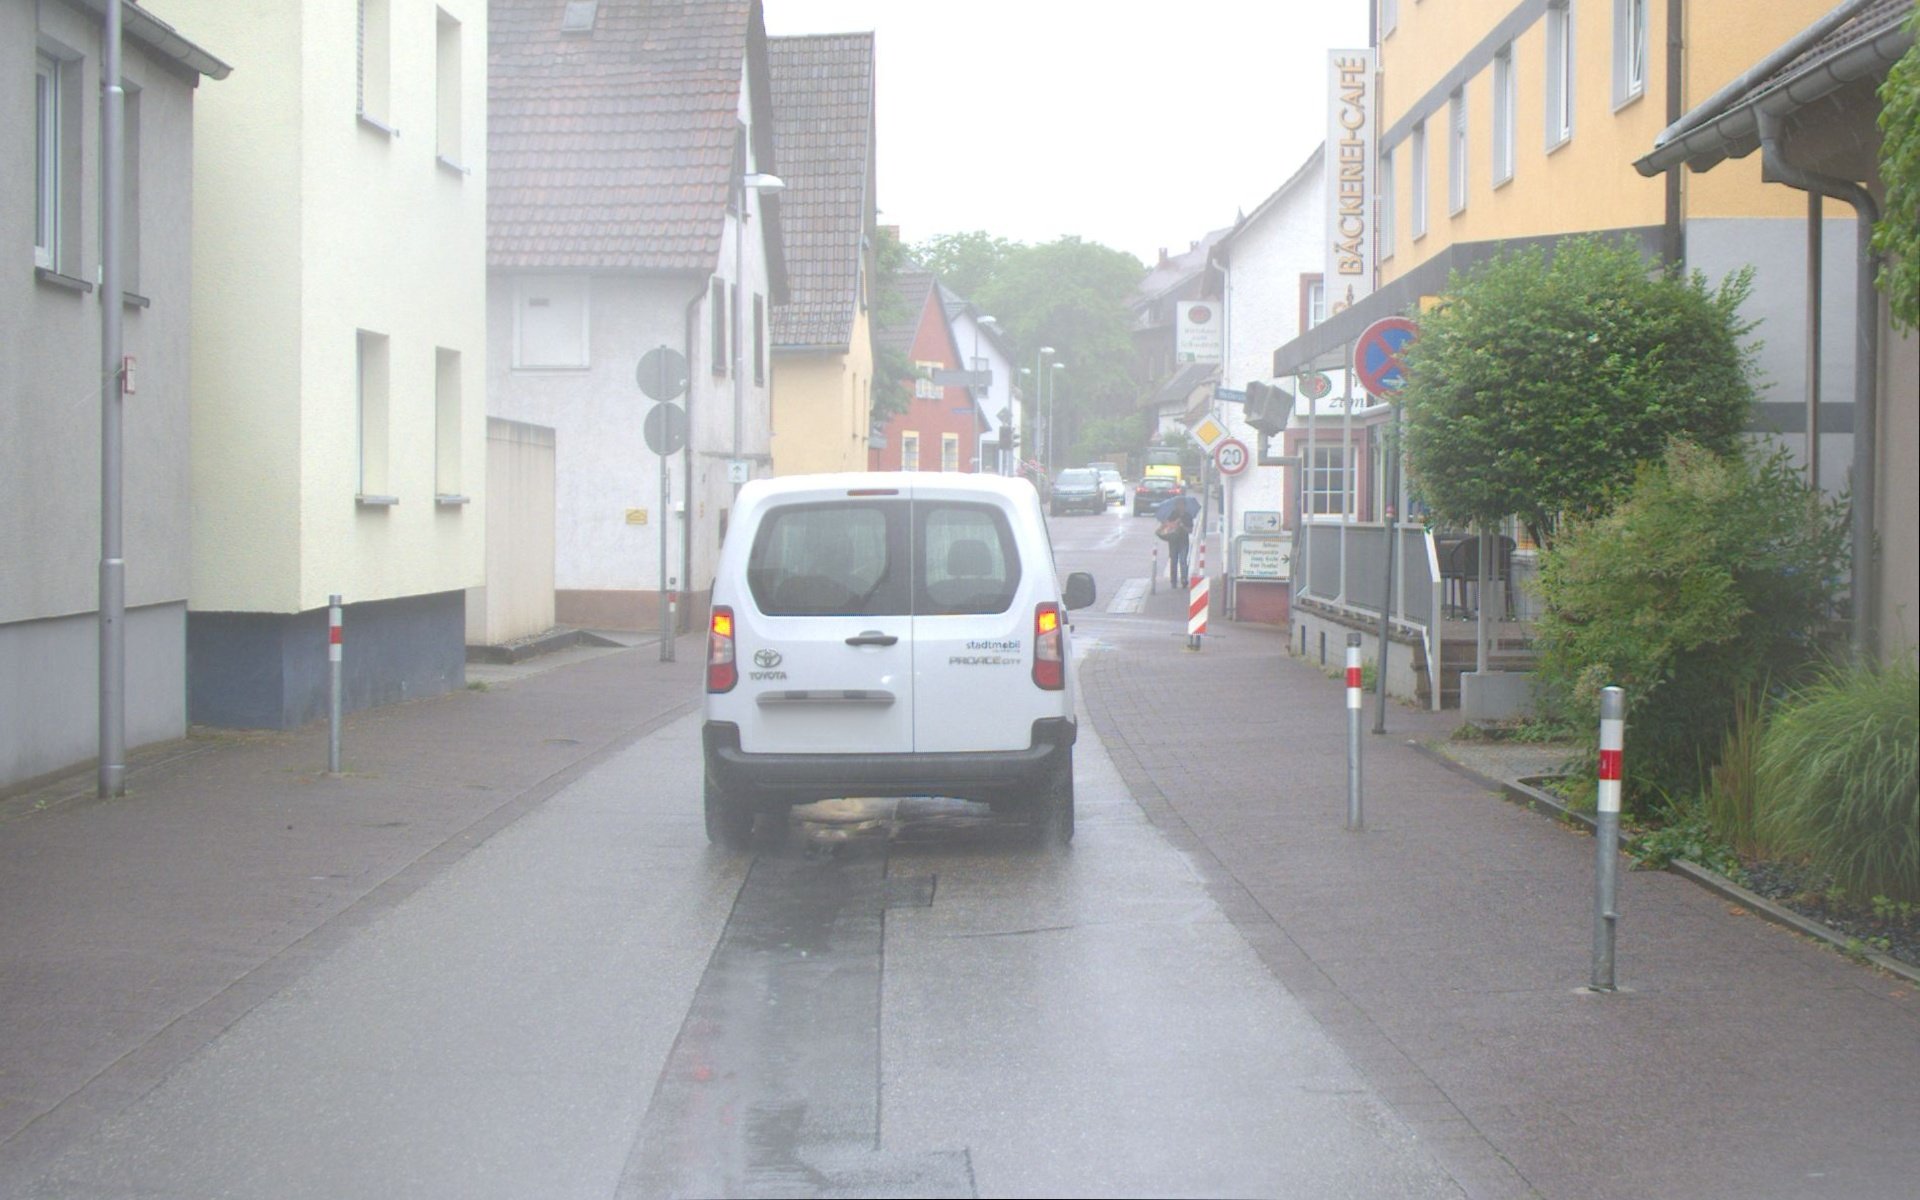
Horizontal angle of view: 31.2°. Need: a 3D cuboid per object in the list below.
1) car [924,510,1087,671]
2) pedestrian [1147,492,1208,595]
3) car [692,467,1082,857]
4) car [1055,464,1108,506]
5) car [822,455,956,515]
[{"bbox_3d":[0.651,-0.154,45.585,1.994,2.007,4.000,-1,1,3],"label":"car"},{"bbox_3d":[4.040,-1.042,63.882,1.050,1.886,0.877,-1,1,0],"label":"pedestrian"},{"bbox_3d":[-0.288,0.252,17.819,1.775,1.774,4.000,-1,1,1],"label":"car"},{"bbox_3d":[4.479,-4.230,126.276,1.589,1.436,3.765,2,1,7],"label":"car"},{"bbox_3d":[-2.114,-3.412,102.011,3.420,1.554,2.001,-4,3,-23],"label":"car"}]
